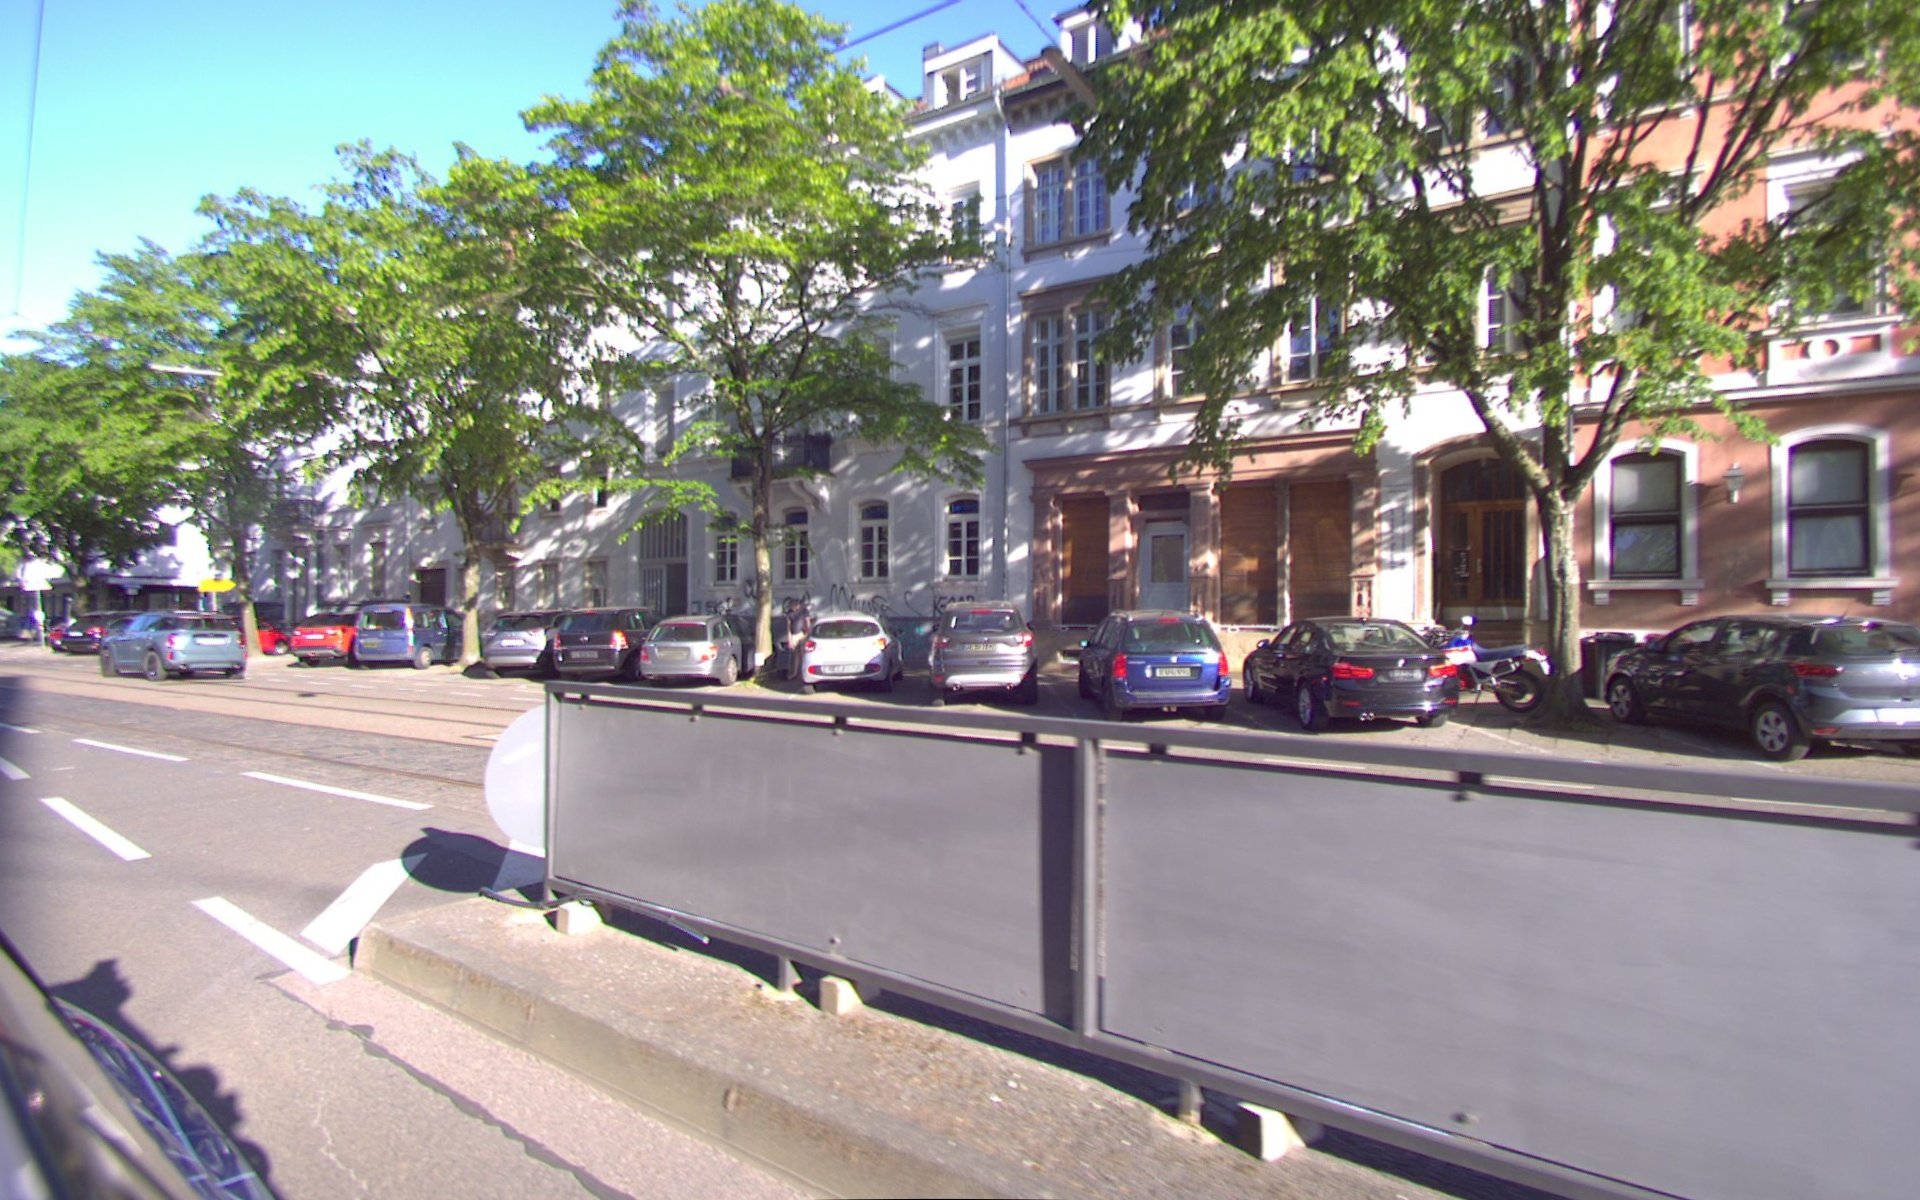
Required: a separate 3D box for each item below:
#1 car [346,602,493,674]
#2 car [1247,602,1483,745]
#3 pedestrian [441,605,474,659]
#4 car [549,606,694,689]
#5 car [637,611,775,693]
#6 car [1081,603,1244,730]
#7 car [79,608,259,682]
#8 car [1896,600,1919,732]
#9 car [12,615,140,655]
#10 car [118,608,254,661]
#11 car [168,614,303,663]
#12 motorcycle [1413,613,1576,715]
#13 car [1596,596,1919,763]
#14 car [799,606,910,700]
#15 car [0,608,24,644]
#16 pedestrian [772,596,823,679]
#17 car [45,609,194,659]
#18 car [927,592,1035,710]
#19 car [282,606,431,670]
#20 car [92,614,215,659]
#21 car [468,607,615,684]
[{"bbox_3d":[-15.439,1.010,29.187,1.763,1.812,4.195,0,1,5],"label":"car"},{"bbox_3d":[5.437,0.893,14.174,1.611,1.629,3.987,-1,1,-1],"label":"car"},{"bbox_3d":[-16.448,1.041,33.110,0.869,1.709,0.635,-1,-2,39],"label":"pedestrian"},{"bbox_3d":[-7.583,0.995,23.069,1.751,1.666,3.864,0,0,5],"label":"car"},{"bbox_3d":[-5.318,1.036,21.716,1.748,1.496,3.817,0,1,5],"label":"car"},{"bbox_3d":[2.979,0.909,15.685,1.611,1.629,3.987,-1,1,-1],"label":"car"},{"bbox_3d":[-18.813,1.023,24.041,4.410,1.613,1.858,-1,-2,30],"label":"car"},{"bbox_3d":[12.128,0.793,10.149,1.710,1.533,3.919,-1,1,-3],"label":"car"},{"bbox_3d":[-36.691,1.413,42.129,1.758,1.497,3.997,0,1,2],"label":"car"},{"bbox_3d":[-28.675,1.239,37.673,1.760,1.737,4.199,0,1,2],"label":"car"},{"bbox_3d":[-25.992,1.351,36.481,1.620,1.569,4.194,0,0,5],"label":"car"},{"bbox_3d":[7.607,0.868,14.461,0.671,1.289,1.929,0,1,-45],"label":"motorcycle"},{"bbox_3d":[9.379,0.767,11.722,1.667,1.519,3.919,-1,1,3],"label":"car"},{"bbox_3d":[-1.980,0.967,19.810,1.685,1.544,3.278,-1,2,3],"label":"car"},{"bbox_3d":[-53.286,1.420,55.846,3.206,1.912,1.653,-1,-2,34],"label":"car"},{"bbox_3d":[-3.540,0.801,22.032,0.803,1.769,0.760,0,-2,23],"label":"pedestrian"},{"bbox_3d":[-33.325,1.287,40.294,1.928,1.727,4.345,0,1,11],"label":"car"},{"bbox_3d":[0.409,0.775,17.941,1.685,1.735,4.284,0,2,3],"label":"car"},{"bbox_3d":[-18.131,1.094,30.640,1.721,1.649,4.195,-2,1,5],"label":"car"},{"bbox_3d":[-31.070,1.372,39.138,1.724,1.531,3.766,0,1,0],"label":"car"},{"bbox_3d":[-10.109,1.041,24.768,1.751,1.666,3.865,0,0,5],"label":"car"}]
